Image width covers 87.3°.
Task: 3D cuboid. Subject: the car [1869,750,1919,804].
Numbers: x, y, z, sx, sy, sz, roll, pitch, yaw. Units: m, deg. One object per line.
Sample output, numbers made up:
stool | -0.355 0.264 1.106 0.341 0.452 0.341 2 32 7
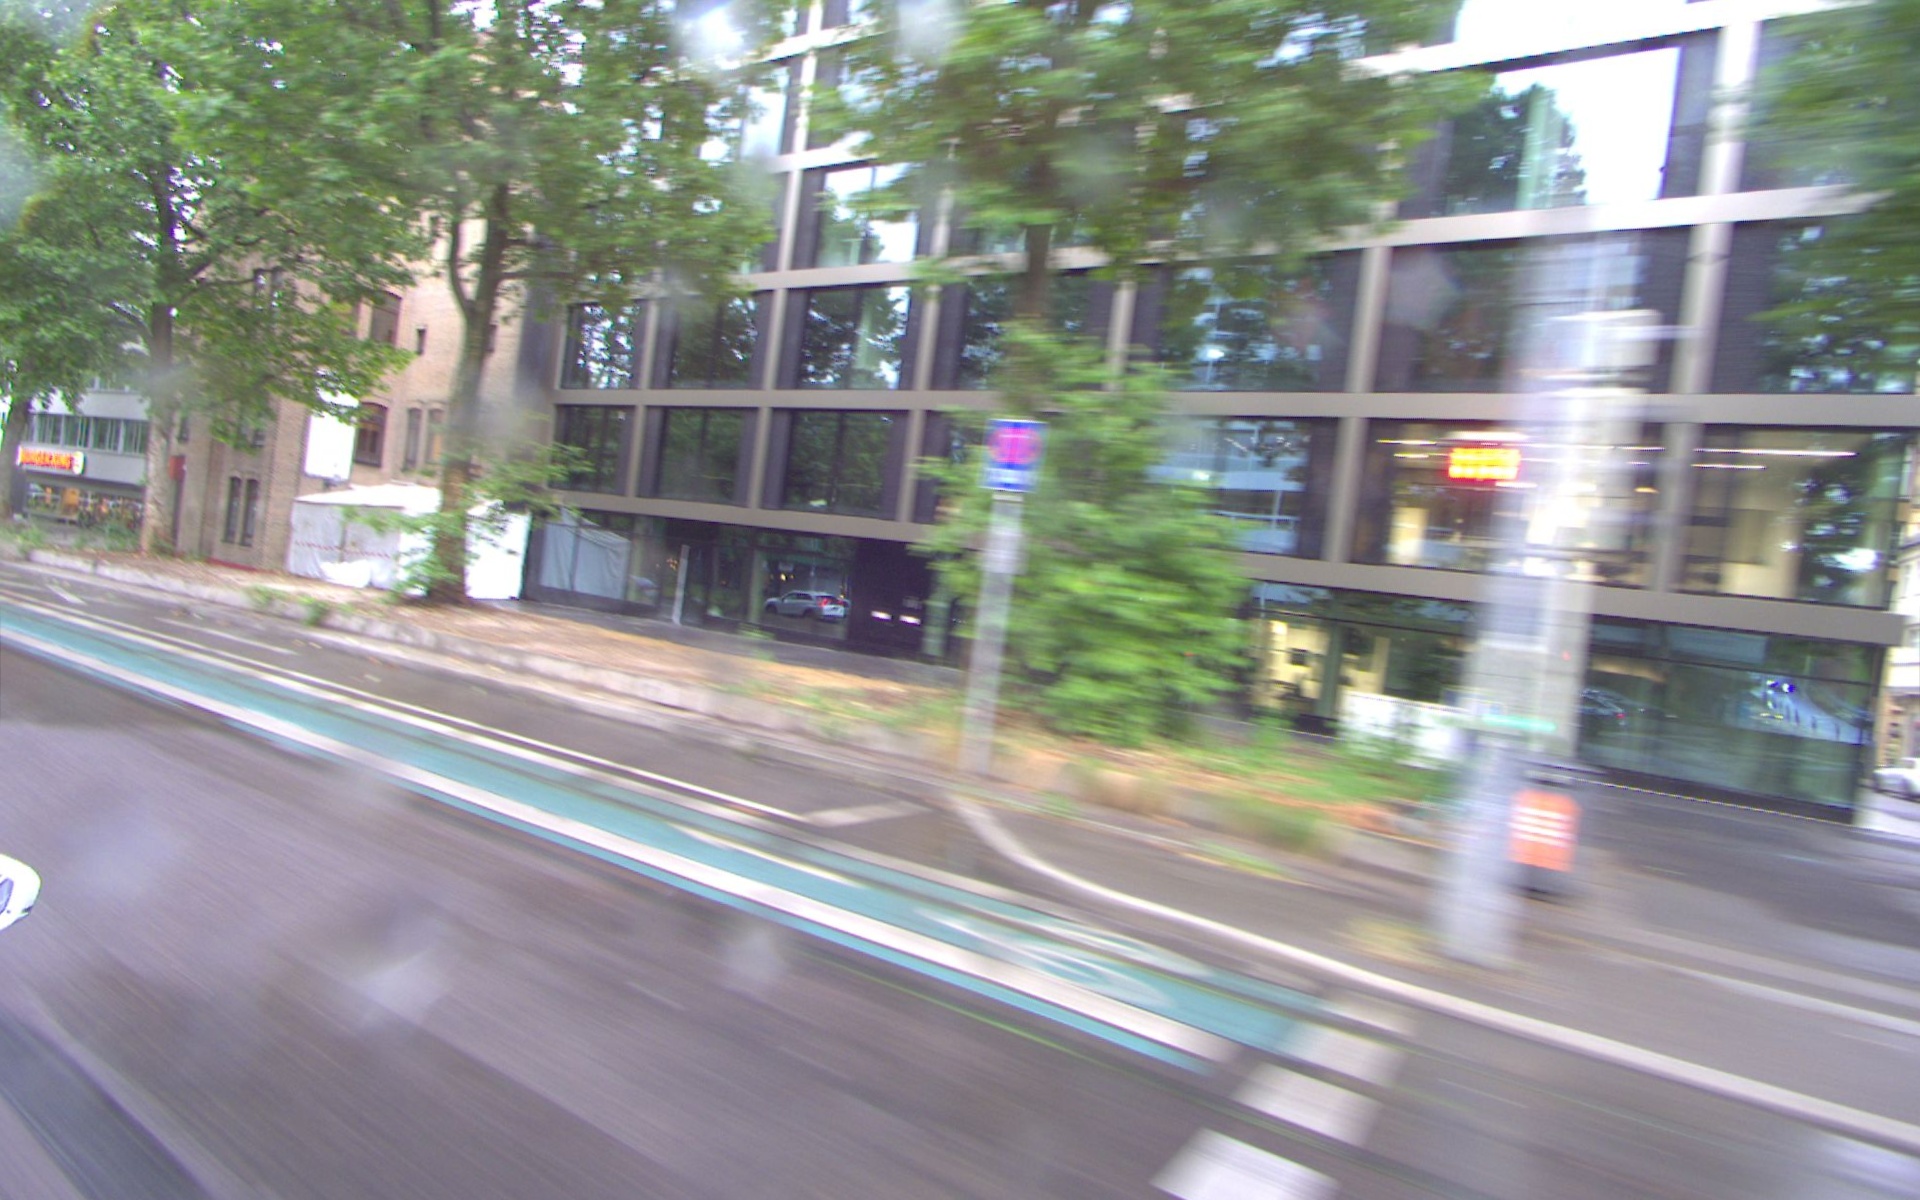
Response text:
car | 32.169 5.985 33.450 1.754 1.606 3.802 6 -3 26

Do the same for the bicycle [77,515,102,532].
bicycle | -50.760 -4.481 58.651 1.993 0.846 0.449 6 -2 32

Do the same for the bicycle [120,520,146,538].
bicycle | -45.966 -3.961 55.898 1.993 0.846 0.449 6 -2 32

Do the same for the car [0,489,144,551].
car | -23.385 -2.087 26.293 2.861 1.086 1.446 9 -3 -28
